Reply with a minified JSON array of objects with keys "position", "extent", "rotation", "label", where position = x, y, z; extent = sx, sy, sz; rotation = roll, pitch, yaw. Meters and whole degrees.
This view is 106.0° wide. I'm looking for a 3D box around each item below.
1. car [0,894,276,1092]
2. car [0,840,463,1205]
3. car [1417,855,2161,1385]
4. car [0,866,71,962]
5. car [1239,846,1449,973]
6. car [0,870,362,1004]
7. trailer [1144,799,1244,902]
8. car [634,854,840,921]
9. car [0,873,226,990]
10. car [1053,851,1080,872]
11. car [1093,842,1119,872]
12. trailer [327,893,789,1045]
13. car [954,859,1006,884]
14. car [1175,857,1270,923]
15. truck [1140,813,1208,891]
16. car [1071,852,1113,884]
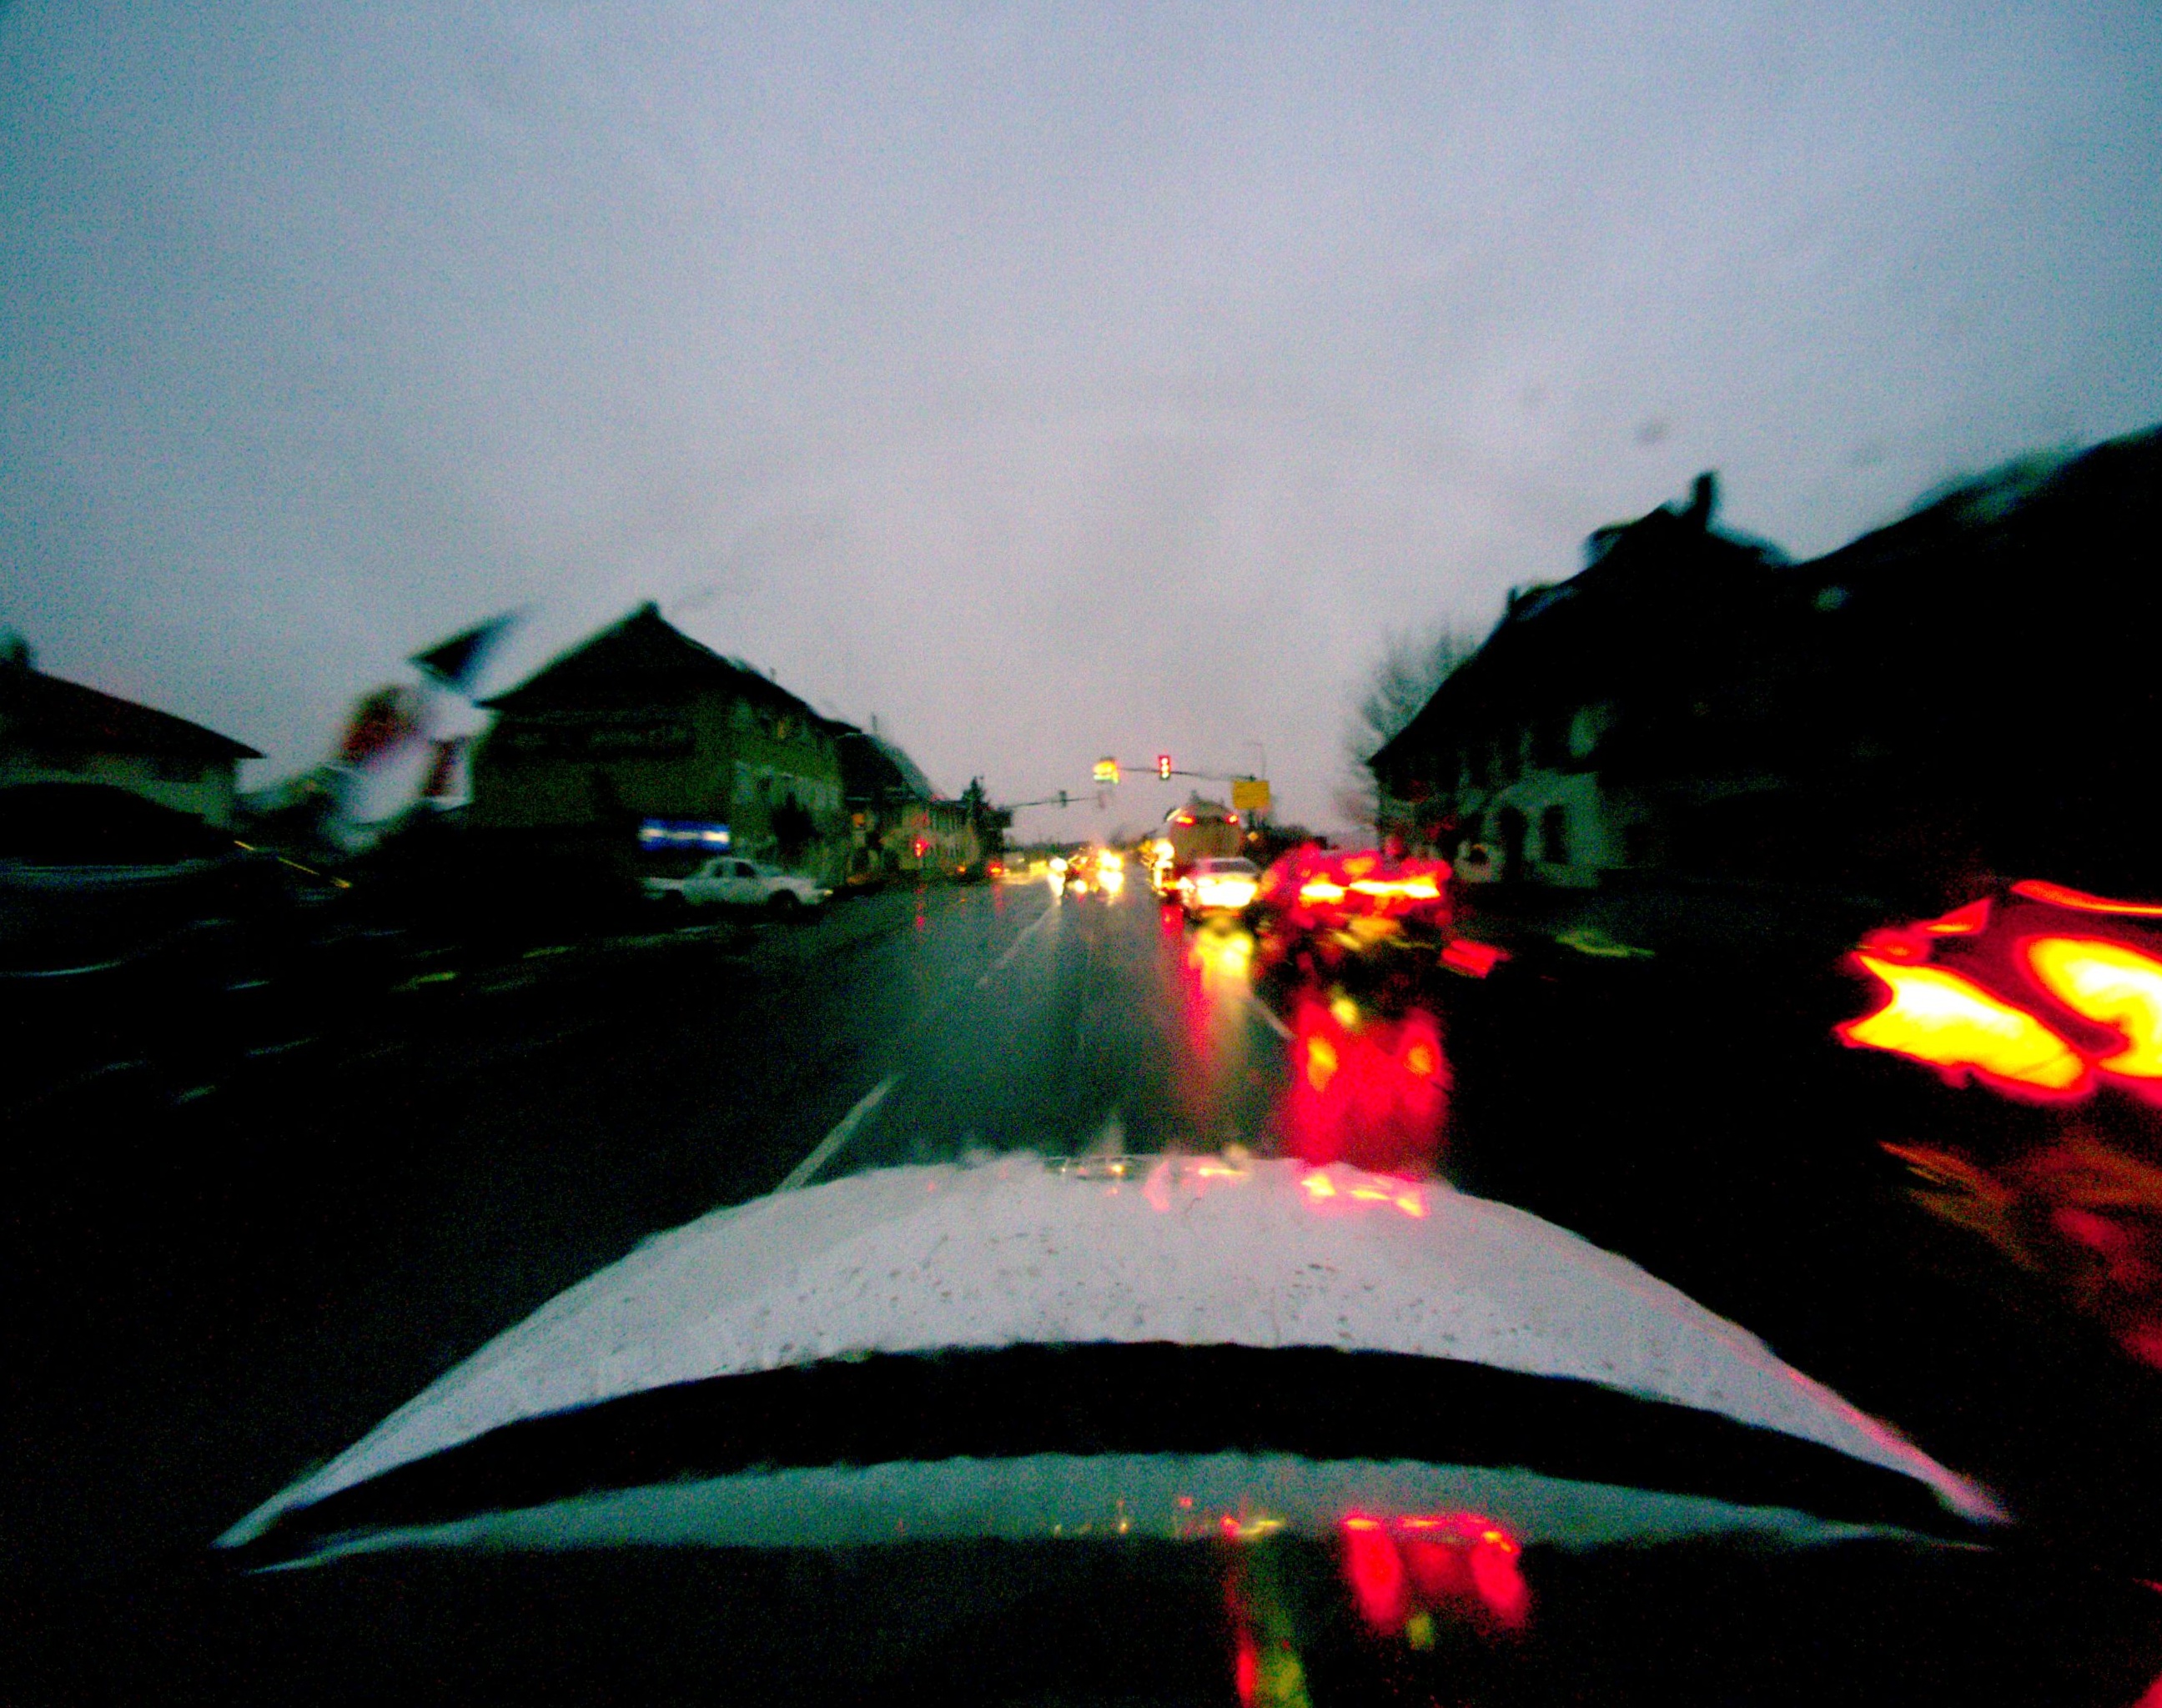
[{"position":[-9.796,1.108,7.100],"extent":[3.879,1.428,1.720],"rotation":[0,0,2],"label":"car"},{"position":[-6.416,0.881,4.785],"extent":[1.963,1.830,4.514],"rotation":[-2,0,2],"label":"car"},{"position":[3.500,0.756,4.430],"extent":[1.695,1.471,4.273],"rotation":[0,0,2],"label":"car"},{"position":[-19.383,1.053,12.795],"extent":[1.987,1.624,4.000],"rotation":[-2,0,1],"label":"car"},{"position":[3.683,0.691,12.314],"extent":[1.829,1.568,4.505],"rotation":[0,0,1],"label":"car"},{"position":[-13.818,1.123,12.472],"extent":[1.987,1.624,4.000],"rotation":[-2,0,1],"label":"car"},{"position":[4.025,-0.090,31.352],"extent":[2.479,3.241,10.870],"rotation":[-1,0,1],"label":"trailer"},{"position":[-10.062,0.960,24.080],"extent":[5.168,1.791,2.001],"rotation":[-1,0,3],"label":"car"},{"position":[-16.454,1.170,12.680],"extent":[1.987,1.624,4.000],"rotation":[-2,0,1],"label":"car"},{"position":[-1.257,0.661,73.339],"extent":[1.984,1.746,4.005],"rotation":[-3,0,5],"label":"car"},{"position":[2.410,0.298,80.260],"extent":[2.393,2.892,6.251],"rotation":[1,0,1],"label":"car"},{"position":[-6.038,1.231,10.750],"extent":[1.986,1.039,6.106],"rotation":[-2,0,2],"label":"trailer"},{"position":[-6.420,1.118,52.204],"extent":[3.211,1.508,1.546],"rotation":[0,0,-5],"label":"car"},{"position":[3.363,0.801,20.050],"extent":[1.656,1.439,4.382],"rotation":[0,0,1],"label":"car"},{"position":[4.139,-0.076,37.256],"extent":[2.453,3.230,6.273],"rotation":[-1,0,1],"label":"truck"},{"position":[0.549,0.724,43.796],"extent":[2.041,1.573,4.700],"rotation":[-2,0,-1],"label":"car"}]
